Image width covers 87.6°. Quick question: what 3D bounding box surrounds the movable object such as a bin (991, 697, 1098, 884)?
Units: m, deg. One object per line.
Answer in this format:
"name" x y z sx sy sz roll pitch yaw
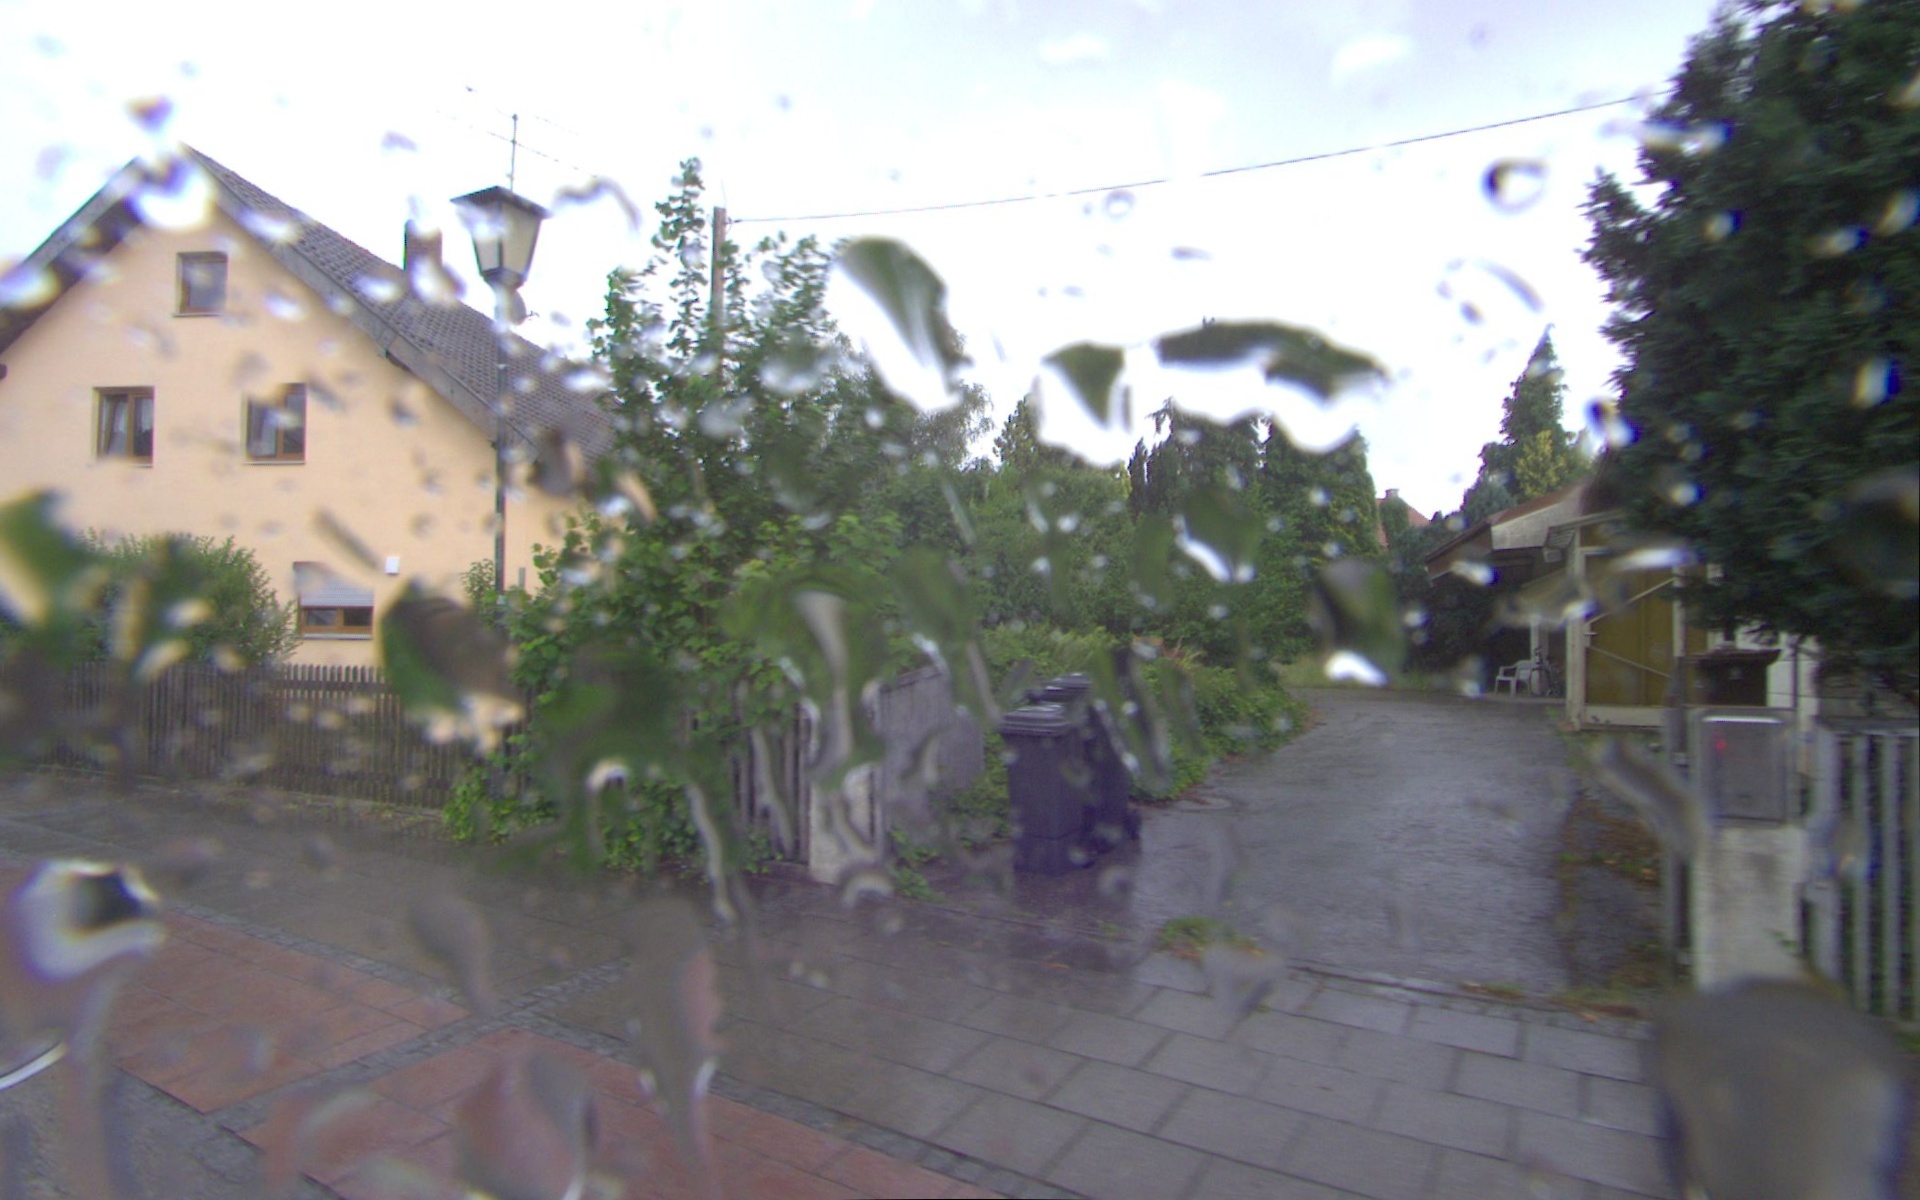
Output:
"movable object such as a bin" 0.483 1.050 5.664 0.440 0.948 0.432 -1 1 33

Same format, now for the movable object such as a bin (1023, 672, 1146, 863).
"movable object such as a bin" 0.772 0.996 6.175 0.545 1.054 0.574 -1 1 33
